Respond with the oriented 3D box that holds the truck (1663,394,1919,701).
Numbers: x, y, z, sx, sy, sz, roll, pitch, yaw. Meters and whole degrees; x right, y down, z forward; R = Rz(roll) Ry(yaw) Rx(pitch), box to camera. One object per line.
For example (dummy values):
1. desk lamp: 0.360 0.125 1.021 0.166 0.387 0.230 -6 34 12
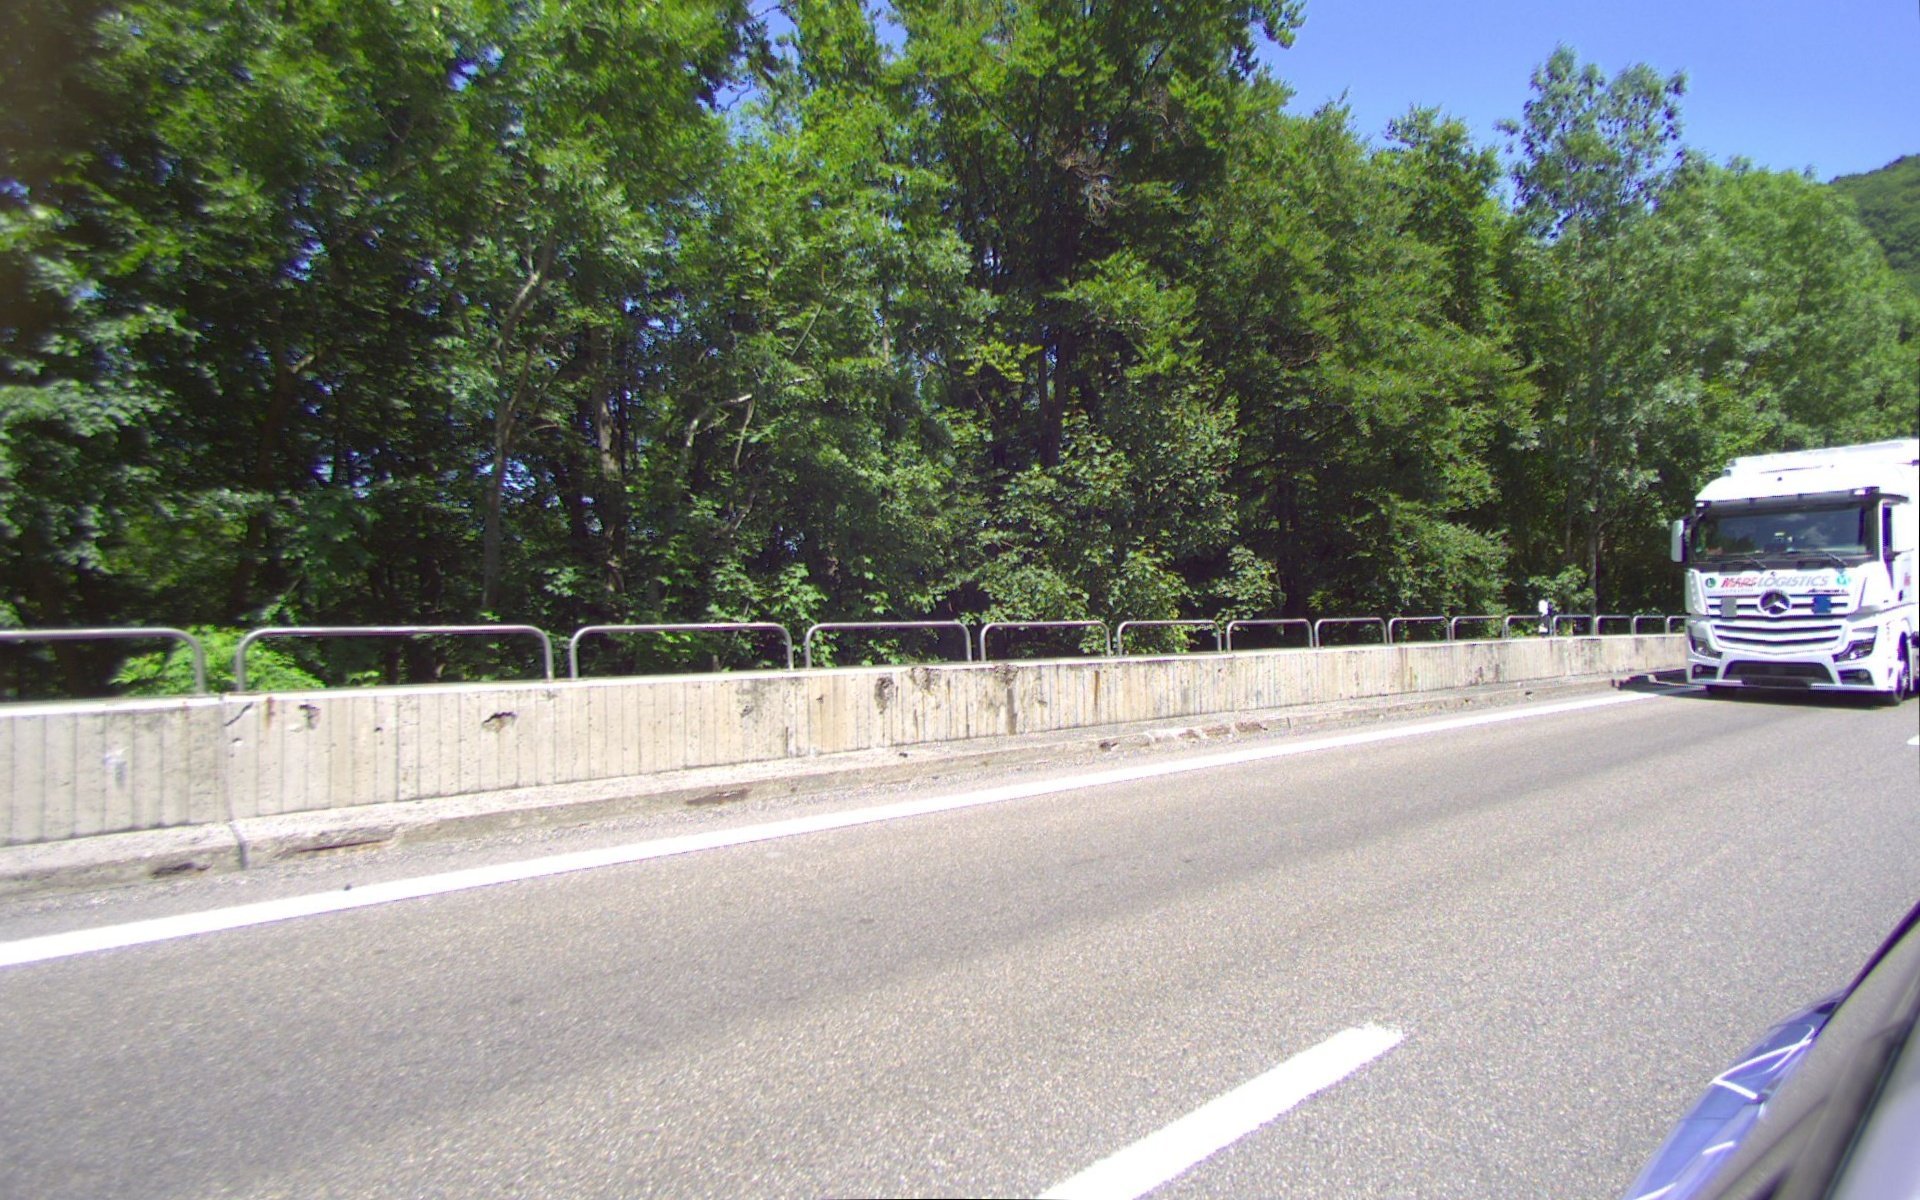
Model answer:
1. truck: 18.903 -0.620 20.124 16.400 4.188 2.966 0 -6 -38
